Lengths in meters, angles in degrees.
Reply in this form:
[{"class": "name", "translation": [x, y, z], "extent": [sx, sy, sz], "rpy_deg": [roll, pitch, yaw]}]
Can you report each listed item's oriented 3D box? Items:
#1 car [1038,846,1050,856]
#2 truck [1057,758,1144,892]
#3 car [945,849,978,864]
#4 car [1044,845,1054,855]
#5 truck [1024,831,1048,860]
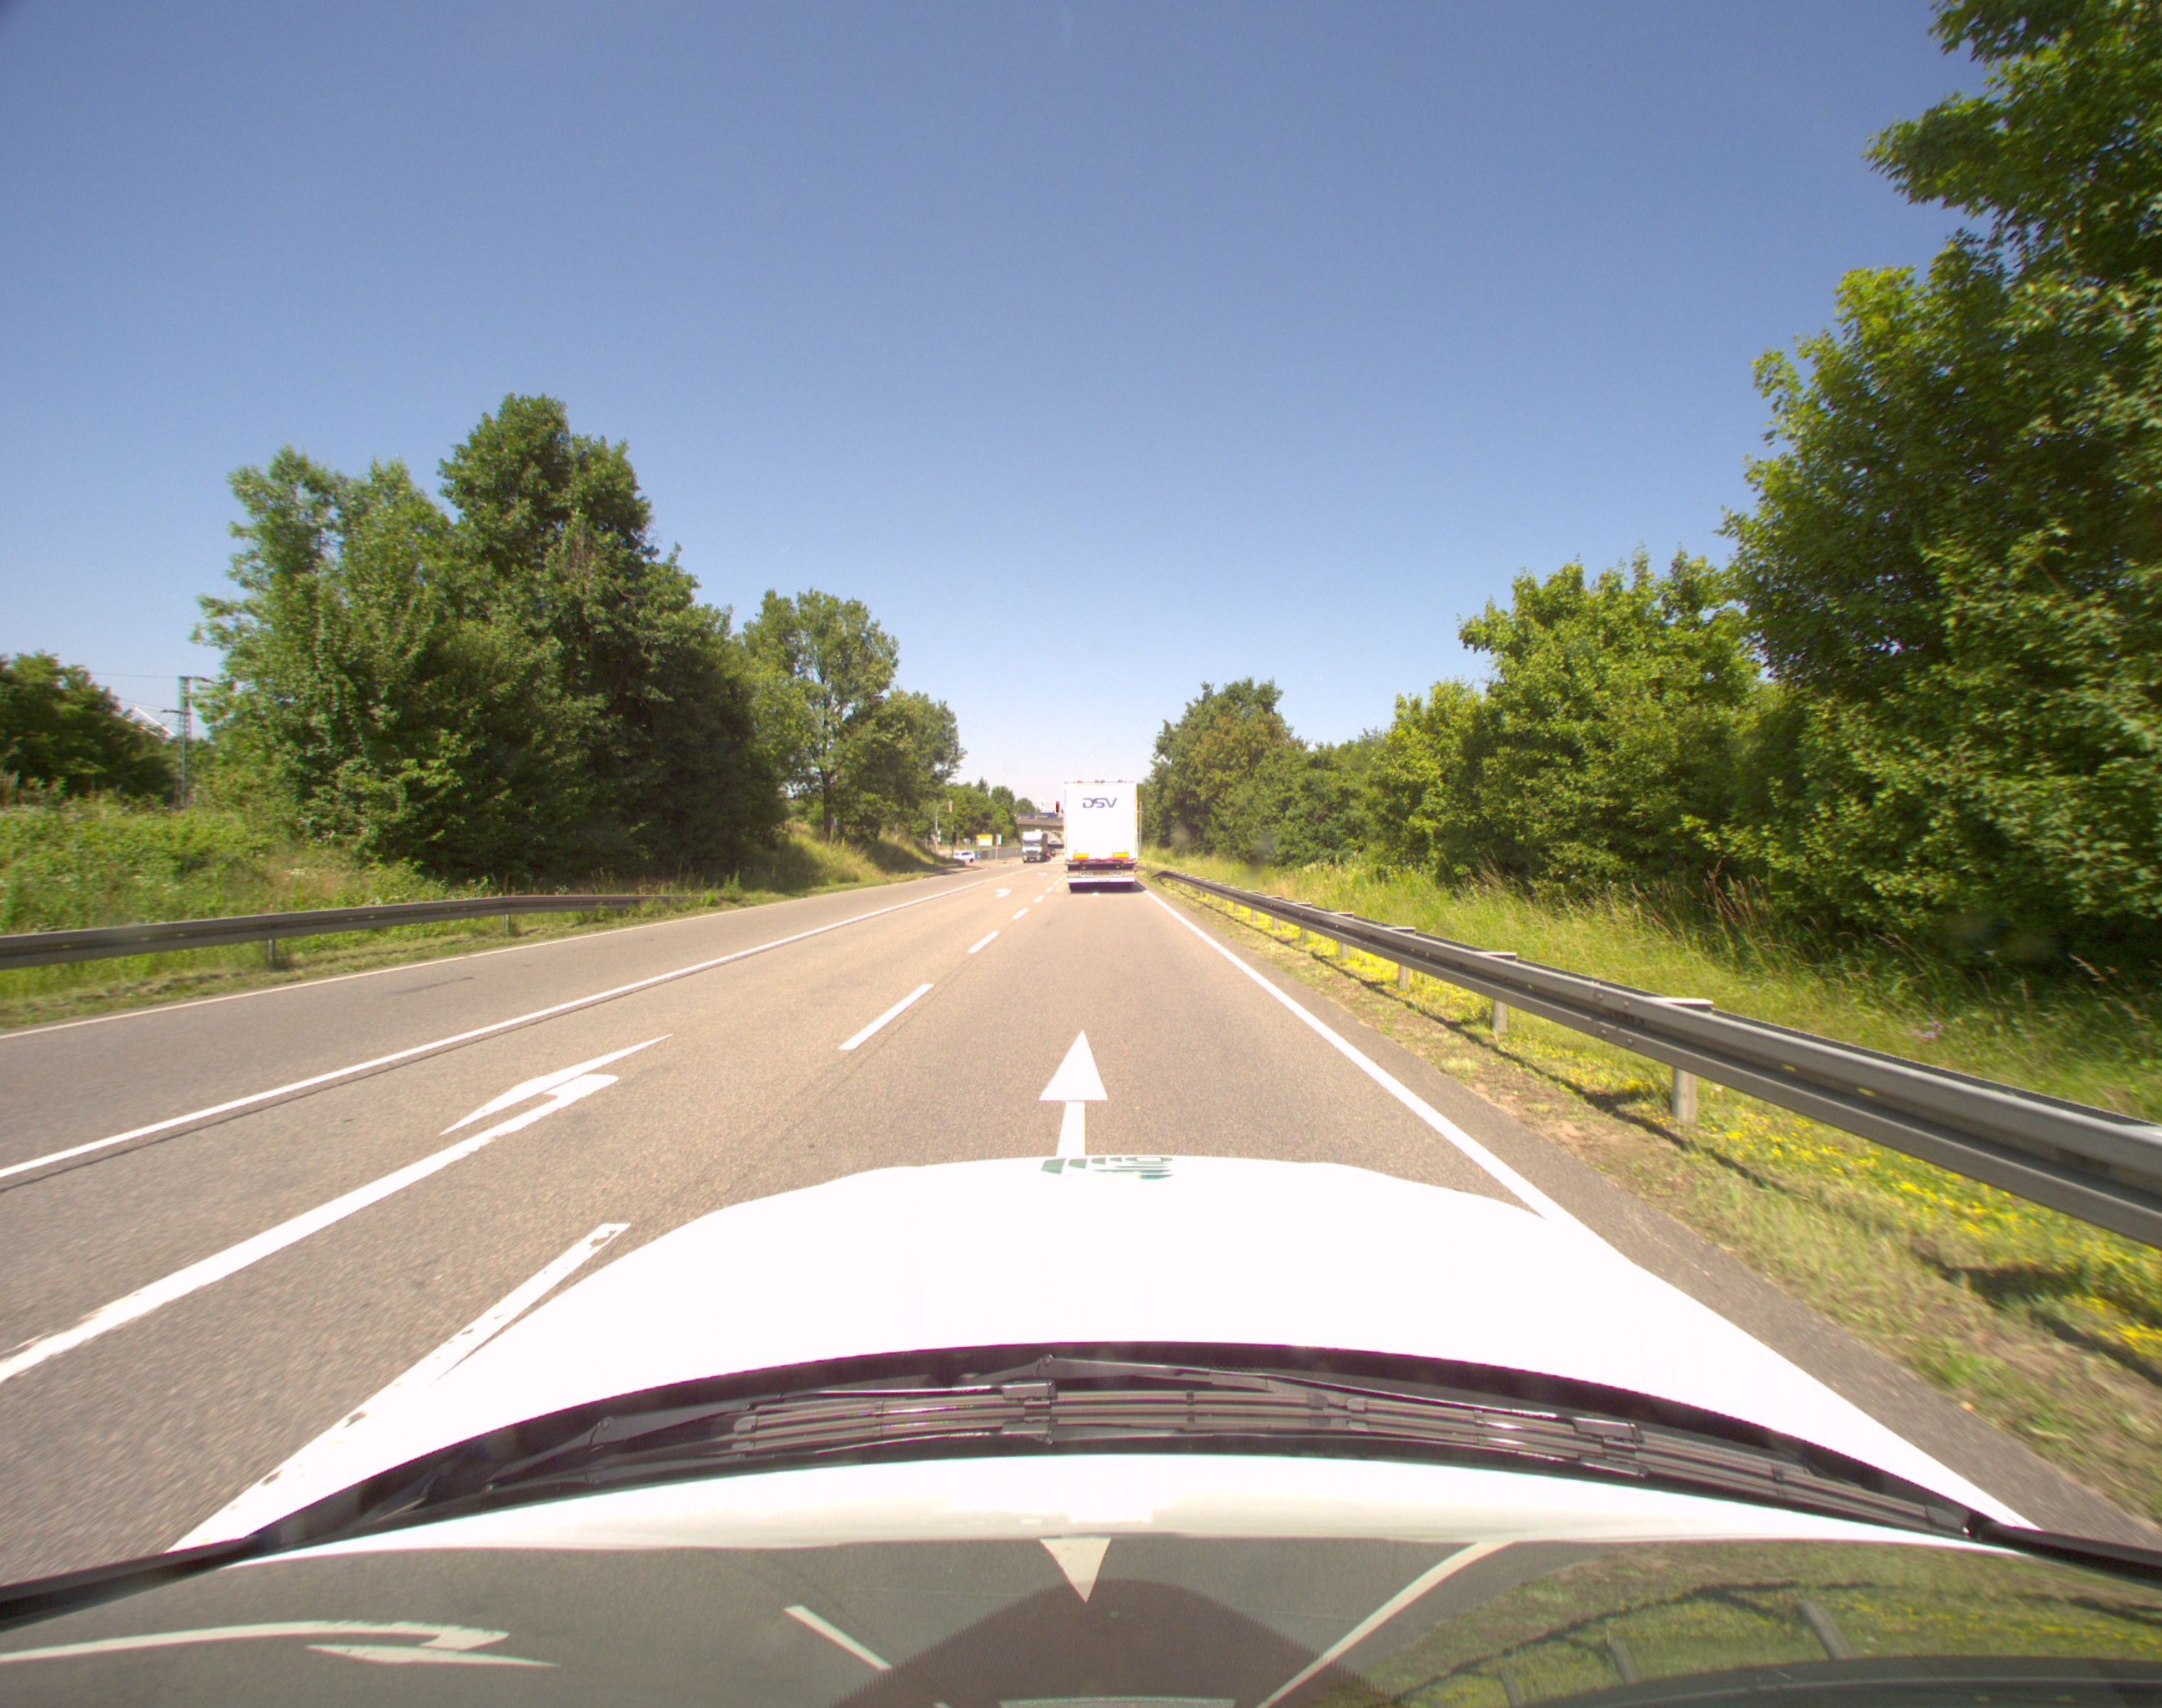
[{"class": "car", "translation": [-5.824, -0.481, 128.422], "extent": [1.741, 1.626, 3.703], "rpy_deg": [-1, 1, 0]}, {"class": "truck", "translation": [0.777, -1.026, 32.865], "extent": [2.939, 4.568, 9.865], "rpy_deg": [-1, 0, 1]}, {"class": "car", "translation": [-15.761, 0.272, 107.599], "extent": [1.784, 1.872, 4.448], "rpy_deg": [0, 1, 34]}, {"class": "car", "translation": [-5.878, -0.755, 150.605], "extent": [1.741, 1.626, 3.703], "rpy_deg": [-1, 1, 0]}, {"class": "truck", "translation": [-6.063, -1.146, 111.022], "extent": [2.345, 3.749, 12.627], "rpy_deg": [-1, 1, 1]}]
